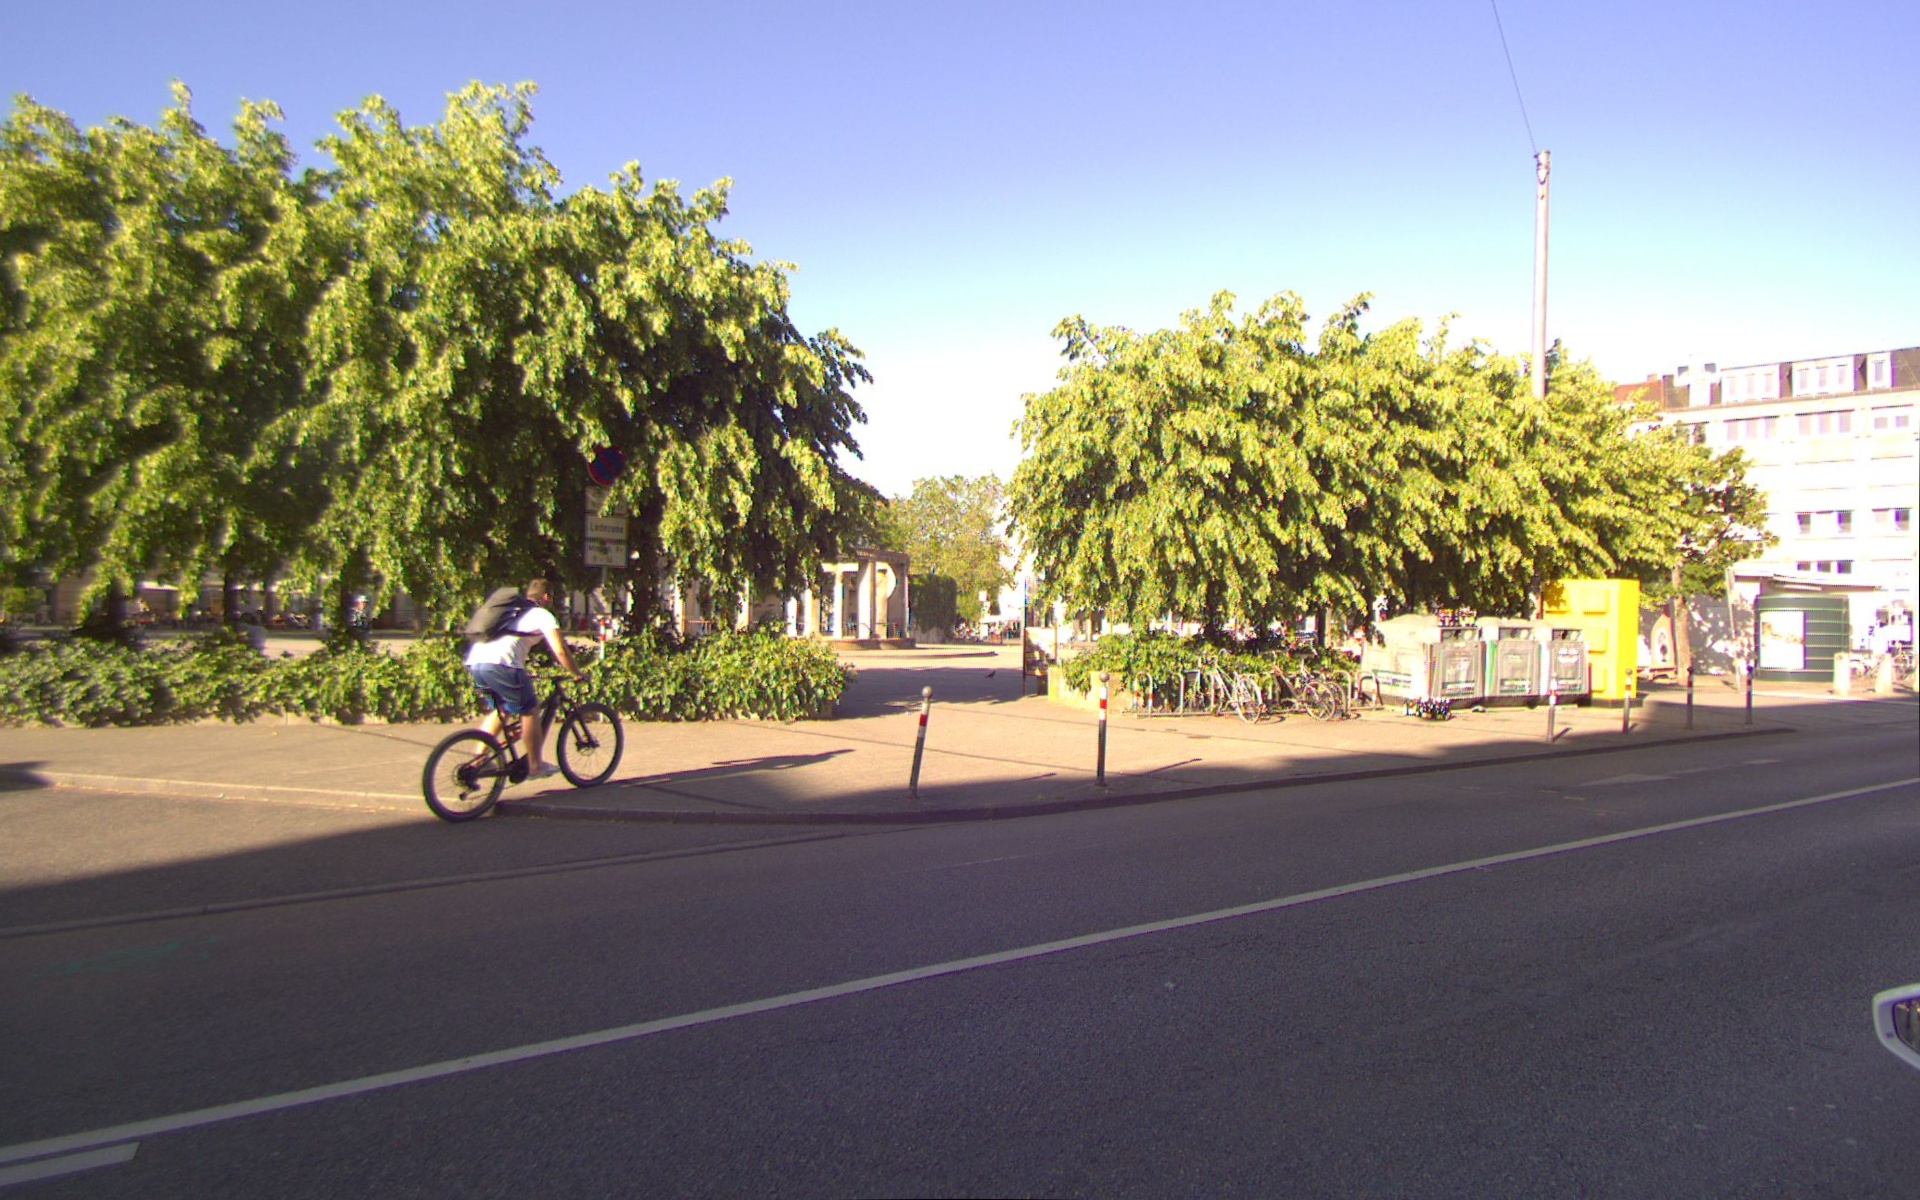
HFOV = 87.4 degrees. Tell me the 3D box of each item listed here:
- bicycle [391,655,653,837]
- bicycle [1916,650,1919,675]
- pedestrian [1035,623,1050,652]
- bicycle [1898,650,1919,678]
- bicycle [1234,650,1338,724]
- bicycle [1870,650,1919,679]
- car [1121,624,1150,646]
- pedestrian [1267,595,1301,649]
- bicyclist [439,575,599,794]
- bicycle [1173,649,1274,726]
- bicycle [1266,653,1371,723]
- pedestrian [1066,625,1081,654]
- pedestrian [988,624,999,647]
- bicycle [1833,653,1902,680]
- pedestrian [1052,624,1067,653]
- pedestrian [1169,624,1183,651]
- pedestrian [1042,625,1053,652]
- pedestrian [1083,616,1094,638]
[{"bbox_3d":[-3.533,1.119,8.342,0.629,1.099,2.059,1,3,26],"label":"bicycle"},{"bbox_3d":[37.070,2.375,37.520,0.599,0.946,1.854,2,0,-30],"label":"bicycle"},{"bbox_3d":[5.986,2.732,73.058,0.860,2.040,0.902,2,0,-5],"label":"pedestrian"},{"bbox_3d":[35.065,2.338,36.096,0.599,0.946,1.854,2,0,-30],"label":"bicycle"},{"bbox_3d":[5.236,1.372,16.245,0.508,1.016,1.923,2,0,-20],"label":"bicycle"},{"bbox_3d":[33.131,2.262,35.107,0.599,0.946,1.855,1,-1,-30],"label":"bicycle"},{"bbox_3d":[12.203,2.437,70.001,1.658,1.405,3.575,1,-1,5],"label":"car"},{"bbox_3d":[12.447,0.834,38.659,0.875,2.040,0.896,1,0,-17],"label":"pedestrian"},{"bbox_3d":[-3.582,0.637,8.196,0.869,1.657,0.768,1,4,26],"label":"bicyclist"},{"bbox_3d":[4.066,1.330,15.651,0.508,1.029,1.930,2,0,-19],"label":"bicycle"},{"bbox_3d":[5.822,1.405,16.413,0.508,0.968,1.898,2,0,-20],"label":"bicycle"},{"bbox_3d":[8.130,2.811,72.010,0.860,2.040,0.902,2,0,-5],"label":"pedestrian"},{"bbox_3d":[2.969,3.140,88.733,0.860,2.040,0.902,2,0,-5],"label":"pedestrian"},{"bbox_3d":[30.817,2.251,34.123,0.600,0.802,1.634,2,0,-33],"label":"bicycle"},{"bbox_3d":[7.145,2.760,71.933,0.860,2.040,0.902,2,0,-5],"label":"pedestrian"},{"bbox_3d":[14.219,2.437,66.151,0.741,1.740,0.854,1,-1,4],"label":"pedestrian"},{"bbox_3d":[6.531,2.828,74.643,0.628,1.974,0.676,2,0,-7],"label":"pedestrian"},{"bbox_3d":[12.765,2.669,99.534,0.860,2.199,0.902,2,0,-5],"label":"pedestrian"}]
